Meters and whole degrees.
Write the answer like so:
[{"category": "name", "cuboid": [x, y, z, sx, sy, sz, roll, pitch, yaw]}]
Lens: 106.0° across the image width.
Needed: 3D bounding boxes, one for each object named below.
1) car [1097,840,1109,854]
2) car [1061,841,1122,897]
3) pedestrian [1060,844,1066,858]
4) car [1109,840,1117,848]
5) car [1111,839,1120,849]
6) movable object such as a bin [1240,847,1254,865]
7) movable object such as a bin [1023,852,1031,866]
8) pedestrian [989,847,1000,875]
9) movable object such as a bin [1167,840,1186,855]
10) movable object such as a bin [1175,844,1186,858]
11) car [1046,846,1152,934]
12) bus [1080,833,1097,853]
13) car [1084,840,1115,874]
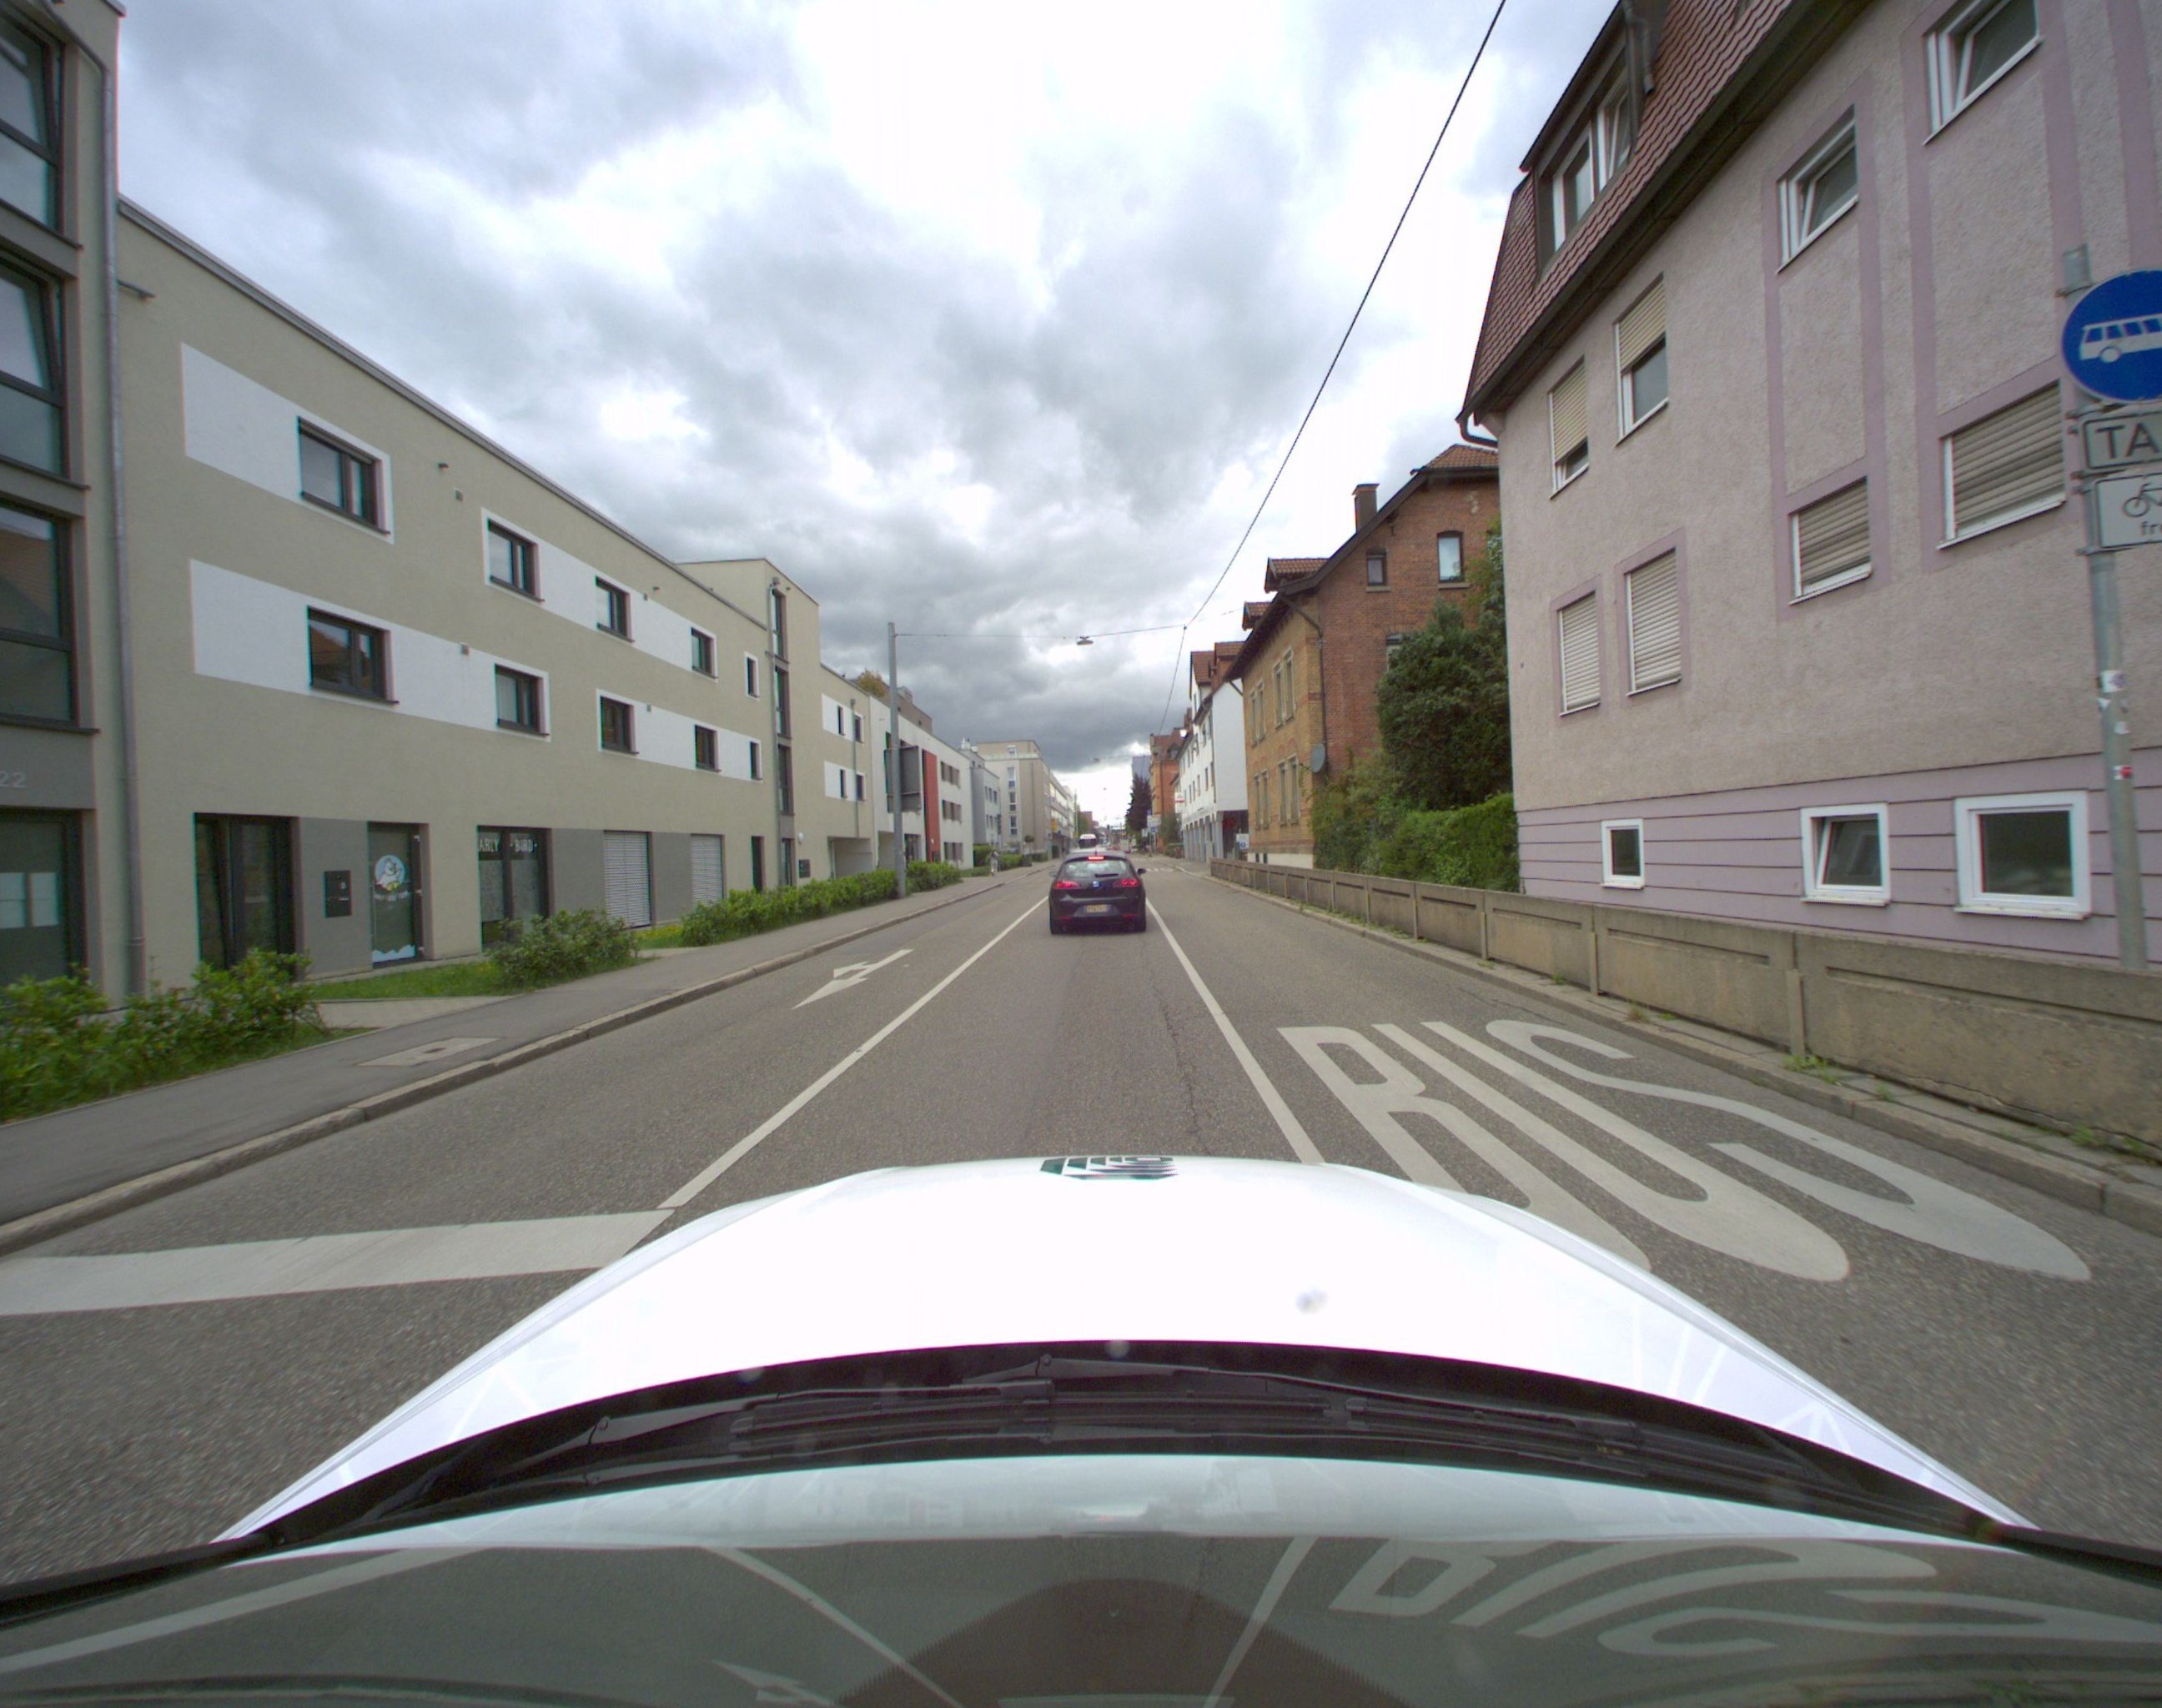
[{"category": "car", "cuboid": [2.805, -0.861, 103.376, 1.526, 1.693, 3.695, -1, 0, 2]}, {"category": "car", "cuboid": [0.394, 0.463, 27.187, 1.835, 1.693, 4.002, -1, 0, 2]}, {"category": "pedestrian", "cuboid": [-2.285, -0.426, 104.052, 0.728, 1.729, 0.860, -1, 0, 1]}, {"category": "car", "cuboid": [6.804, -2.158, 171.327, 1.526, 1.693, 3.695, -3, 1, 2]}, {"category": "car", "cuboid": [6.093, -1.723, 144.647, 1.526, 1.693, 3.695, -3, 1, 2]}, {"category": "movable object such as a bin", "cuboid": [8.068, 0.107, 39.505, 0.590, 0.840, 0.458, -1, 0, 2]}, {"category": "movable object such as a bin", "cuboid": [-4.393, 0.382, 65.731, 0.547, 1.078, 0.612, -1, 0, 3]}, {"category": "pedestrian", "cuboid": [-4.980, 0.403, 46.774, 0.524, 1.548, 0.541, -1, 0, 2]}, {"category": "movable object such as a bin", "cuboid": [9.616, -0.615, 82.162, 1.810, 1.437, 1.994, -1, 0, 3]}, {"category": "movable object such as a bin", "cuboid": [9.510, -0.300, 77.938, 0.925, 1.283, 0.883, -1, 0, 3]}, {"category": "car", "cuboid": [0.376, 0.603, 15.729, 1.752, 1.442, 4.002, -1, 0, 2]}, {"category": "bus", "cuboid": [1.175, -1.697, 126.144, 2.202, 2.886, 8.924, -1, 0, 2]}, {"category": "car", "cuboid": [0.974, 0.135, 42.648, 1.526, 1.693, 3.695, -1, 0, 2]}]
